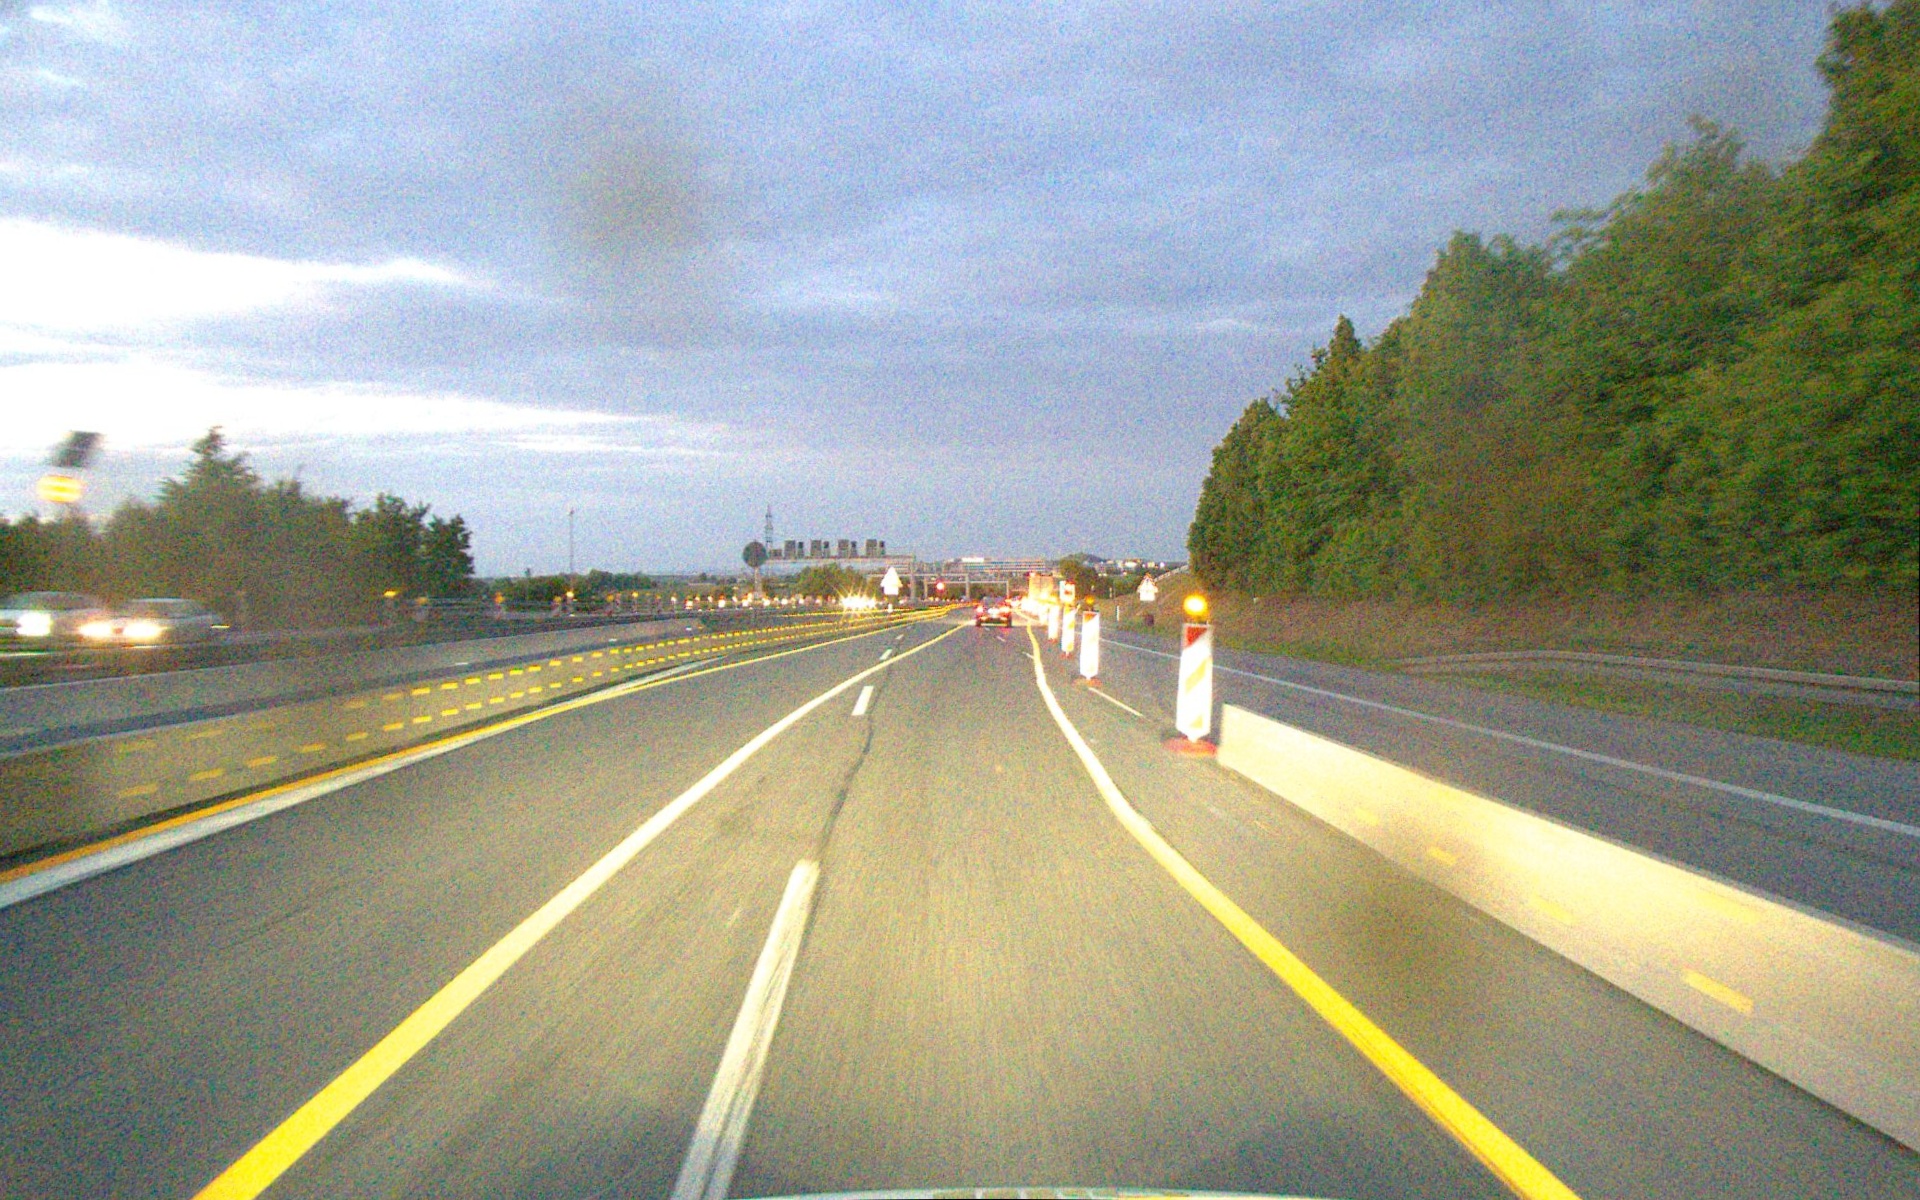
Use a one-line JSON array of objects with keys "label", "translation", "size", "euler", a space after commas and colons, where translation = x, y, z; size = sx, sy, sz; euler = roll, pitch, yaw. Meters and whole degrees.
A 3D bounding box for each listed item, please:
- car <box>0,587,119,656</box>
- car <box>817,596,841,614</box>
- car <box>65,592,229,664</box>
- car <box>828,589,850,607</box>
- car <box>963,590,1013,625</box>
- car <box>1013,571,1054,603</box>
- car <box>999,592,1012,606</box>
[{"label": "car", "translation": [-24.618, 0.549, 44.499], "size": [1.868, 1.744, 3.943], "euler": [2, 0, 0]}, {"label": "car", "translation": [-13.319, 0.463, 168.708], "size": [1.952, 1.744, 4.001], "euler": [2, 0, 1]}, {"label": "car", "translation": [-20.651, 0.680, 42.245], "size": [1.793, 1.690, 4.840], "euler": [2, 0, -1]}, {"label": "car", "translation": [-12.844, -0.214, 175.869], "size": [1.952, 1.860, 4.001], "euler": [2, 0, 1]}, {"label": "car", "translation": [1.412, 0.366, 84.220], "size": [2.220, 1.649, 3.998], "euler": [2, 0, -3]}, {"label": "car", "translation": [8.289, -1.431, 187.030], "size": [3.535, 3.455, 8.005], "euler": [2, 0, -5]}, {"label": "car", "translation": [7.063, -0.156, 258.811], "size": [1.952, 2.049, 4.000], "euler": [2, 0, 1]}]
